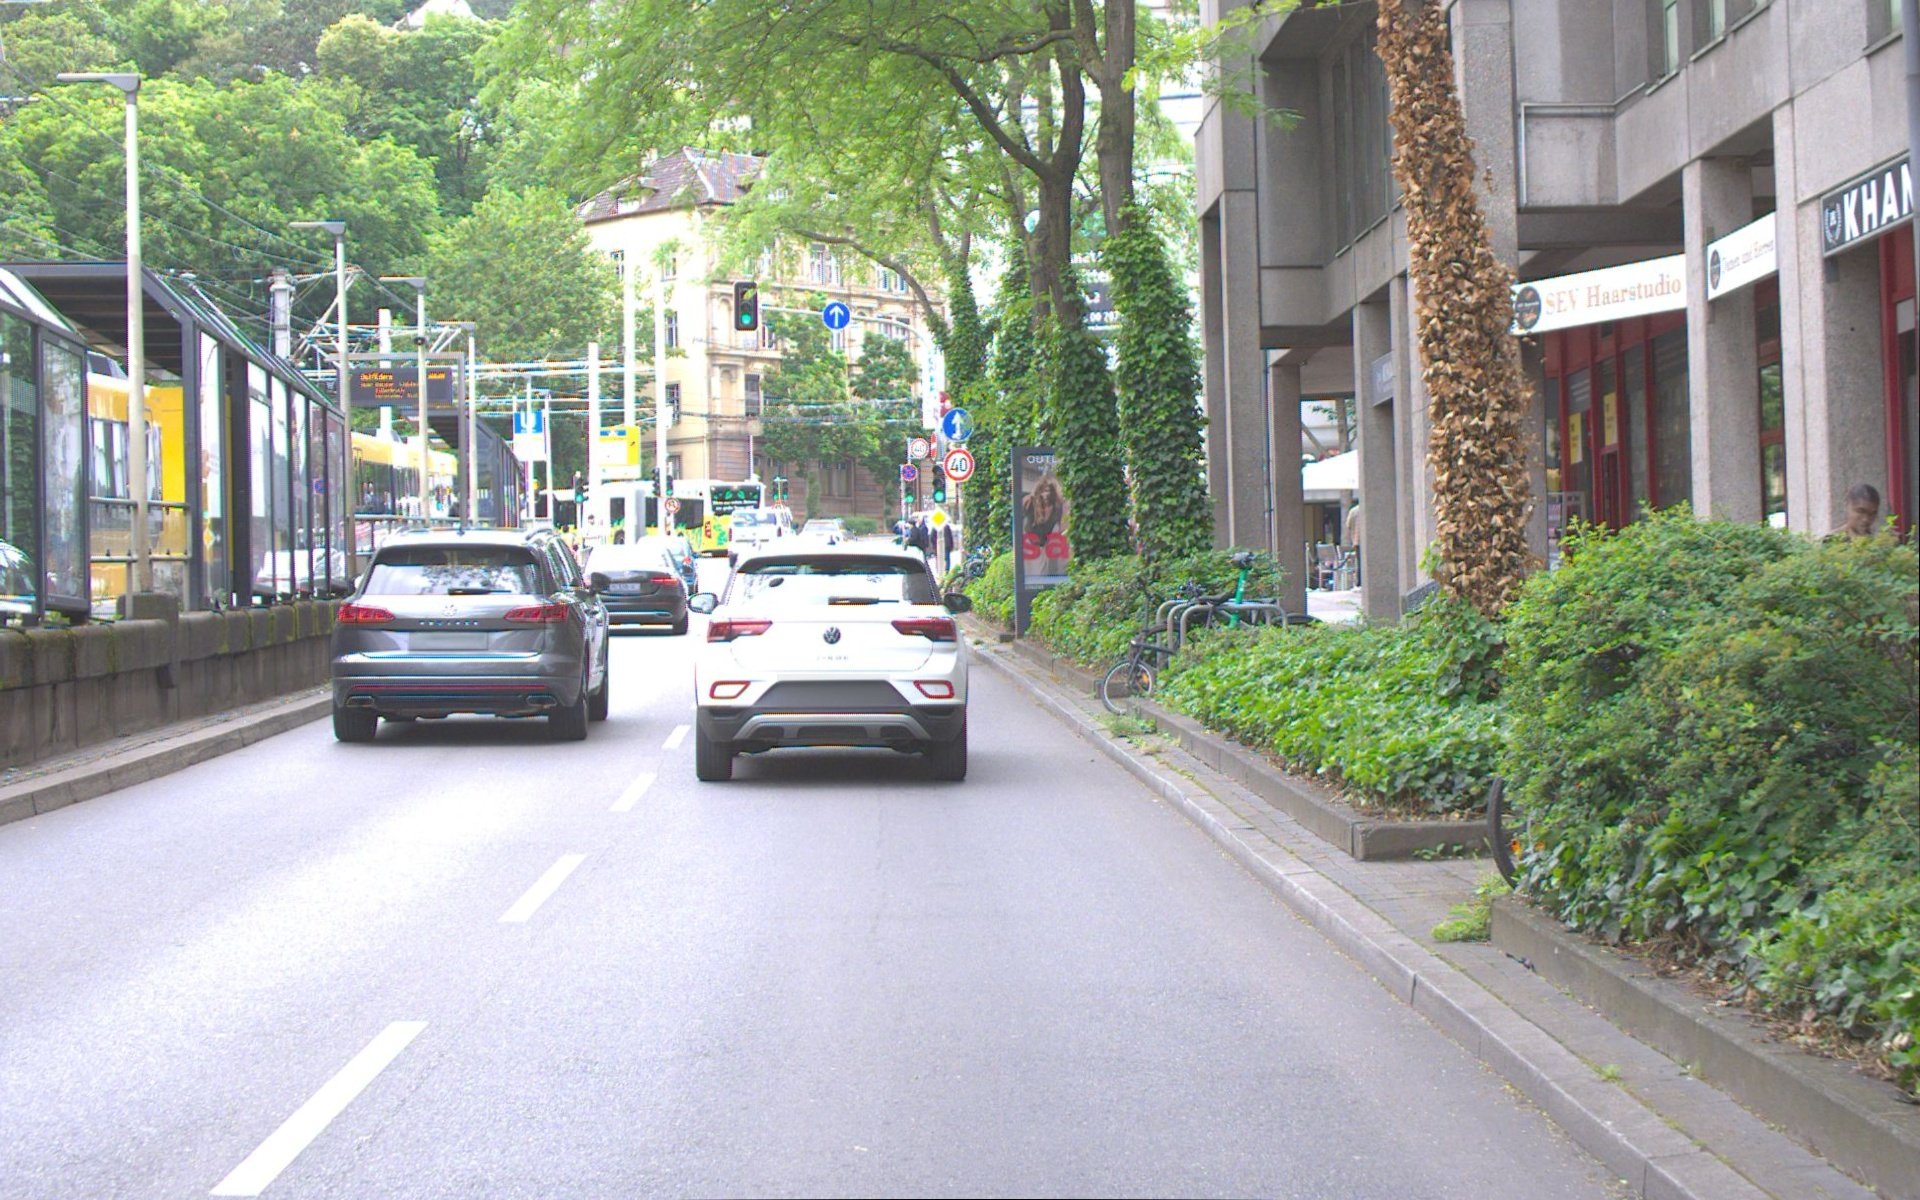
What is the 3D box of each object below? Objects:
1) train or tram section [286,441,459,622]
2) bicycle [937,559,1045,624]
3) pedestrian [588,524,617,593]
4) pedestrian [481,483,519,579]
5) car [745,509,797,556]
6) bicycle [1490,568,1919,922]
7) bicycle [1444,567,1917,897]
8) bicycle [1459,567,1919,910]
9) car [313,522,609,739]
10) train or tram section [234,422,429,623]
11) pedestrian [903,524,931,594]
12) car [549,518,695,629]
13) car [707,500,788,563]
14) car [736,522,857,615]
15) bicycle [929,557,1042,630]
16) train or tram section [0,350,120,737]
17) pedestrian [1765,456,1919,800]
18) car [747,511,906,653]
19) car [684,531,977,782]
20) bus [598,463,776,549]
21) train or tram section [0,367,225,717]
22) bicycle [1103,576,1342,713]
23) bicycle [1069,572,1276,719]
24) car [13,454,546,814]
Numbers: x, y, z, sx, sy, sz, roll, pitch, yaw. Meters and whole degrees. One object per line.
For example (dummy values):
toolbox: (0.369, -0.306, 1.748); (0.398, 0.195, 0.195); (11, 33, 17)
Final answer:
train or tram section: (-12.372, -1.397, 72.929); (2.813, 3.654, 6.752); (0, 0, -3)
bicycle: (0.569, -0.148, 61.656); (1.881, 1.133, 0.808); (0, -1, 4)
pedestrian: (-10.542, -1.230, 101.419); (0.762, 2.007, 0.838); (0, -1, -1)
pedestrian: (-9.832, -1.467, 73.453); (0.762, 2.007, 0.838); (1, -1, -9)
car: (-7.328, -2.624, 133.667); (1.884, 1.678, 4.161); (0, -1, -2)
bicycle: (2.841, 0.507, 12.470); (1.707, 1.180, 0.449); (-3, 0, -9)
bicycle: (2.802, 0.500, 13.399); (1.707, 1.180, 0.449); (-3, 0, -9)
bicycle: (2.792, 0.505, 12.921); (1.707, 1.180, 0.449); (-3, 0, -9)
car: (-3.964, 0.201, 27.910); (1.993, 1.630, 4.001); (0, 1, -3)
train or tram section: (-12.006, -1.429, 66.177); (2.813, 3.654, 6.752); (0, 0, -3)
pedestrian: (-1.254, -1.196, 100.521); (0.762, 2.007, 0.838); (0, -1, 3)
car: (-5.352, -0.443, 54.837); (1.912, 1.683, 4.000); (1, 1, 0)
car: (-7.295, -2.344, 118.547); (2.365, 2.007, 5.147); (0, -1, 1)
car: (-3.153, -0.569, 65.650); (1.884, 1.678, 4.162); (1, -1, -8)
bicycle: (0.449, -0.112, 60.160); (1.881, 1.262, 0.764); (0, -1, 9)
train or tram section: (-10.170, -0.525, 33.152); (2.835, 3.509, 5.752); (0, 0, -1)
pedestrian: (4.859, 0.130, 18.435); (0.762, 1.777, 0.848); (-2, 2, -7)
car: (-1.672, -0.187, 43.058); (1.884, 1.678, 4.161); (0, -1, -2)
car: (-0.931, 0.321, 23.702); (1.837, 1.578, 4.157); (0, 1, -3)
bus: (-11.546, -3.838, 143.478); (3.371, 3.054, 13.327); (1, -1, -23)
train or tram section: (-10.316, -0.622, 38.991); (2.813, 3.654, 5.903); (0, 0, -1)
bicycle: (2.238, 0.375, 29.438); (1.915, 1.073, 0.613); (-3, 0, -4)
bicycle: (1.734, 0.367, 28.205); (1.620, 1.124, 0.613); (-3, 0, 2)
car: (-4.132, 0.226, 21.895); (2.364, 2.007, 5.148); (0, -1, 0)
